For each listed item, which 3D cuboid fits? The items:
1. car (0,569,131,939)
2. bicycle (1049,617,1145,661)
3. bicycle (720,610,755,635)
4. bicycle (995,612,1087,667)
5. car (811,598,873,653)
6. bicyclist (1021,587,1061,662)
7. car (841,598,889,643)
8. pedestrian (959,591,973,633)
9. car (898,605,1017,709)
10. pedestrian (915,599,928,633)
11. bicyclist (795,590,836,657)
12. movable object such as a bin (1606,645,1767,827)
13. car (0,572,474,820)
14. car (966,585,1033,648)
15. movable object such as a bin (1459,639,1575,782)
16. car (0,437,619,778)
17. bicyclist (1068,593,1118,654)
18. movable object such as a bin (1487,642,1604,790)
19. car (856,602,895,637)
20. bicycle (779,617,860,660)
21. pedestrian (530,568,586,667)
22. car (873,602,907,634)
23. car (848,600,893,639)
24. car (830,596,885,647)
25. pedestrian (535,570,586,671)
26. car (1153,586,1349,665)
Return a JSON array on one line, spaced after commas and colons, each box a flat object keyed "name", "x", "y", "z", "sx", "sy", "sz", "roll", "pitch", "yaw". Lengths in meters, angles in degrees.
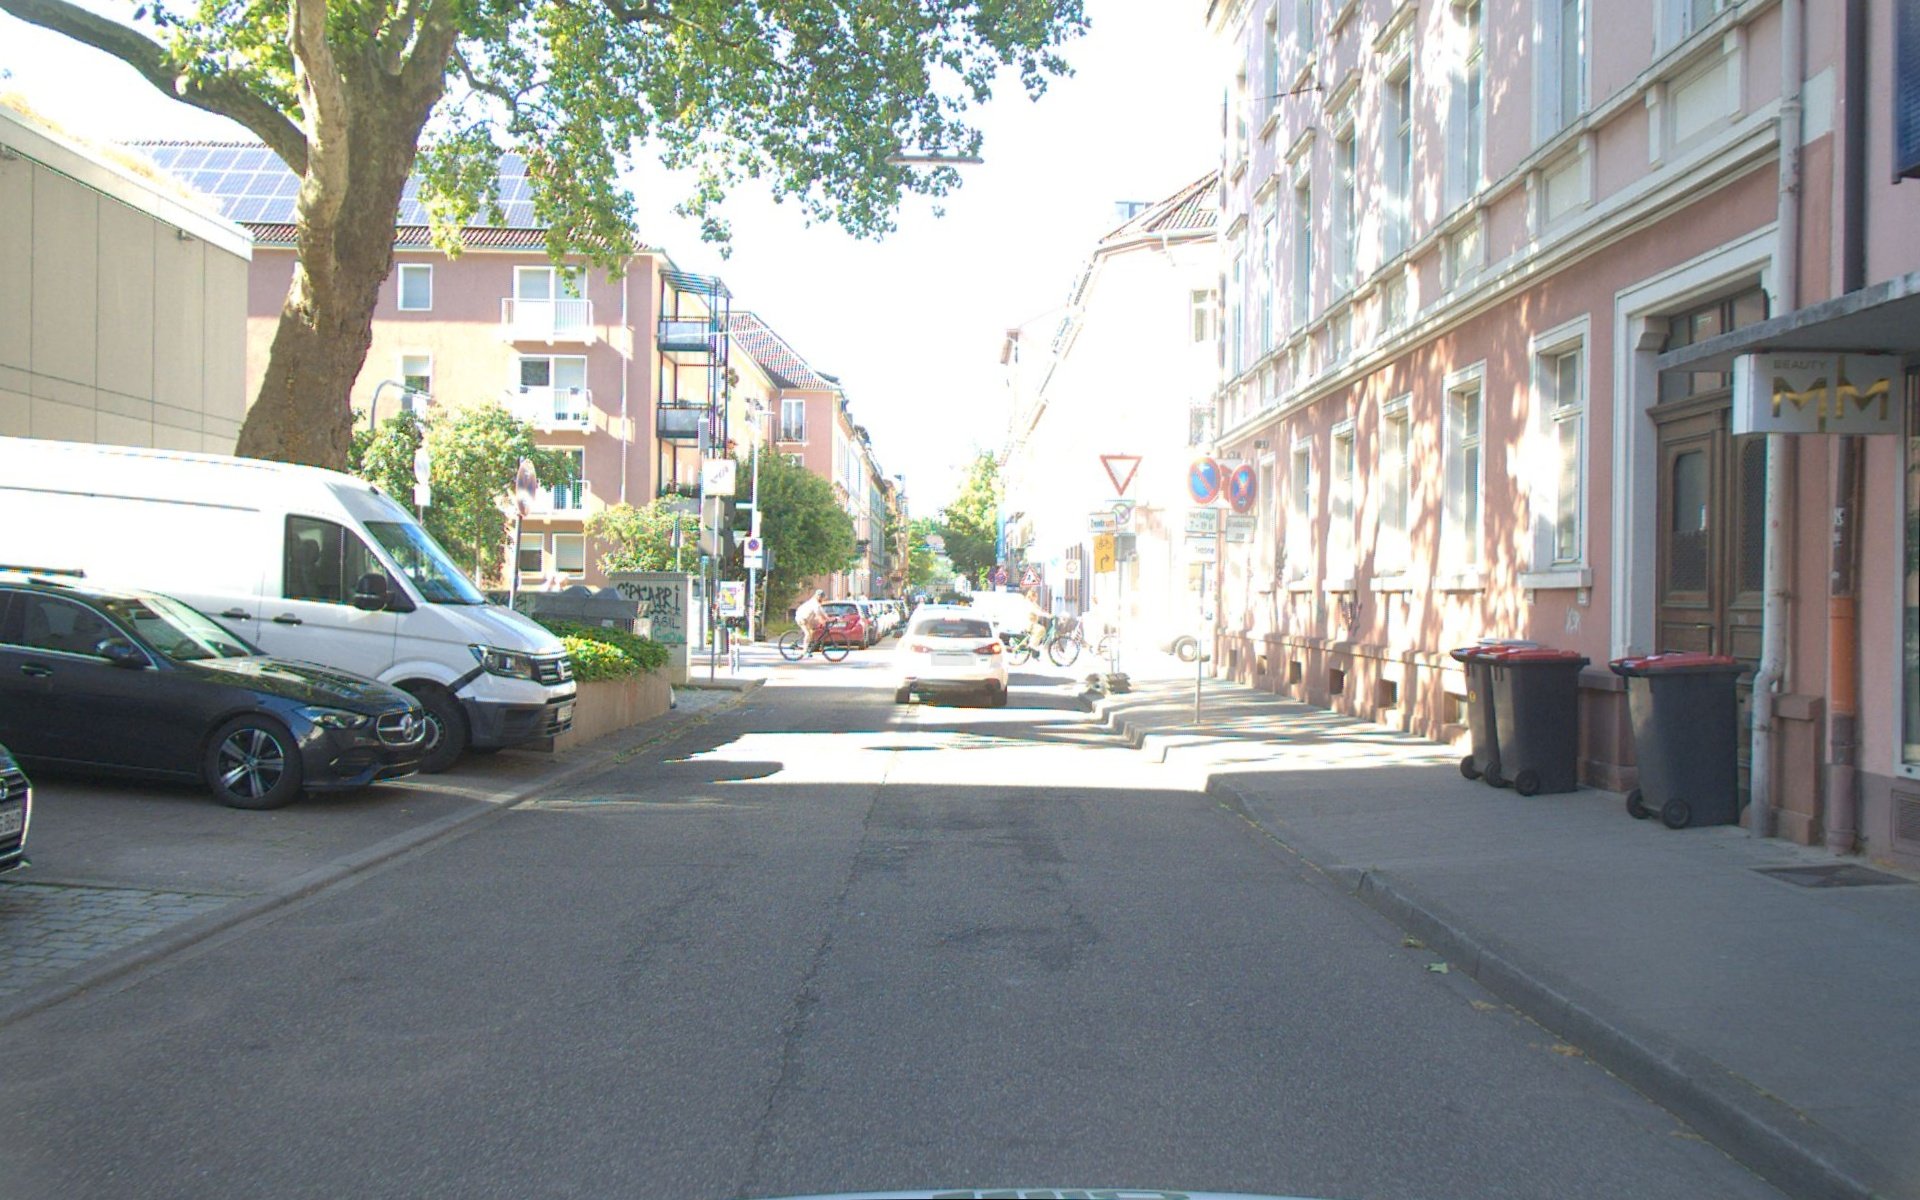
[{"name": "car", "x": -6.411, "y": 0.601, "z": 7.373, "sx": 4.376, "sy": 1.638, "sz": 1.915, "roll": 2, "pitch": -1, "yaw": -3}, {"name": "bicycle", "x": 3.515, "y": 0.987, "z": 42.305, "sx": 2.373, "sy": 1.099, "sz": 0.791, "roll": 0, "pitch": -1, "yaw": 12}, {"name": "bicycle", "x": -8.502, "y": 0.843, "z": 63.140, "sx": 0.598, "sy": 0.948, "sz": 1.893, "roll": 1, "pitch": -1, "yaw": -33}, {"name": "bicycle", "x": 1.899, "y": 0.924, "z": 38.696, "sx": 2.118, "sy": 1.277, "sz": 0.834, "roll": 0, "pitch": -1, "yaw": 2}, {"name": "car", "x": -3.674, "y": 0.772, "z": 51.908, "sx": 1.734, "sy": 1.616, "sz": 3.725, "roll": 0, "pitch": 1, "yaw": -1}, {"name": "bicyclist", "x": 1.890, "y": 0.574, "z": 38.746, "sx": 0.905, "sy": 1.750, "sz": 0.942, "roll": 0, "pitch": -1, "yaw": 2}, {"name": "car", "x": -3.581, "y": 0.785, "z": 63.022, "sx": 1.602, "sy": 1.685, "sz": 3.784, "roll": 0, "pitch": -1, "yaw": 0}, {"name": "pedestrian", "x": 0.308, "y": 0.620, "z": 85.161, "sx": 0.755, "sy": 2.155, "sz": 0.834, "roll": 0, "pitch": -1, "yaw": 0}, {"name": "car", "x": -0.071, "y": 0.881, "z": 27.065, "sx": 1.787, "sy": 1.540, "sz": 3.822, "roll": 1, "pitch": 0, "yaw": -1}, {"name": "pedestrian", "x": -2.055, "y": 0.840, "z": 88.458, "sx": 0.634, "sy": 1.828, "sz": 0.639, "roll": 0, "pitch": -1, "yaw": 0}, {"name": "bicyclist", "x": -3.421, "y": 0.559, "z": 39.204, "sx": 0.963, "sy": 1.580, "sz": 0.760, "roll": 0, "pitch": -1, "yaw": -4}, {"name": "movable object such as a bin", "x": 4.675, "y": 0.857, "z": 10.683, "sx": 0.715, "sy": 1.123, "sz": 0.692, "roll": 0, "pitch": -1, "yaw": -3}, {"name": "car", "x": -6.160, "y": 0.623, "z": 12.324, "sx": 4.408, "sy": 1.496, "sz": 1.929, "roll": 4, "pitch": 0, "yaw": 1}, {"name": "car", "x": 1.272, "y": 0.553, "z": 55.182, "sx": 1.904, "sy": 1.982, "sz": 4.076, "roll": 1, "pitch": 0, "yaw": -3}, {"name": "movable object such as a bin", "x": 4.453, "y": 0.870, "z": 13.258, "sx": 0.730, "sy": 1.105, "sz": 0.635, "roll": 0, "pitch": -1, "yaw": 1}, {"name": "car", "x": -6.724, "y": 0.018, "z": 15.123, "sx": 6.601, "sy": 2.599, "sz": 2.146, "roll": 3, "pitch": -1, "yaw": 1}, {"name": "bicyclist", "x": 3.414, "y": 0.607, "z": 42.302, "sx": 1.170, "sy": 1.543, "sz": 0.841, "roll": 0, "pitch": -1, "yaw": 13}, {"name": "movable object such as a bin", "x": 4.457, "y": 0.869, "z": 12.626, "sx": 0.687, "sy": 1.092, "sz": 0.596, "roll": 0, "pitch": -1, "yaw": 1}, {"name": "car", "x": -3.749, "y": 0.880, "z": 73.817, "sx": 1.569, "sy": 1.503, "sz": 3.567, "roll": 0, "pitch": -1, "yaw": 0}, {"name": "bicycle", "x": -3.325, "y": 0.901, "z": 39.205, "sx": 1.889, "sy": 1.003, "sz": 0.662, "roll": 0, "pitch": -1, "yaw": -4}, {"name": "pedestrian", "x": -7.840, "y": 0.346, "z": 32.267, "sx": 0.950, "sy": 1.871, "sz": 0.679, "roll": 3, "pitch": -1, "yaw": -15}, {"name": "car", "x": -3.540, "y": 0.928, "z": 84.128, "sx": 1.540, "sy": 1.613, "sz": 3.610, "roll": 0, "pitch": -1, "yaw": 0}, {"name": "car", "x": -3.753, "y": 0.829, "z": 69.805, "sx": 1.685, "sy": 1.604, "sz": 3.725, "roll": 0, "pitch": -1, "yaw": 0}, {"name": "car", "x": -3.533, "y": 0.750, "z": 57.508, "sx": 1.685, "sy": 1.712, "sz": 3.726, "roll": 0, "pitch": 0, "yaw": 0}, {"name": "pedestrian", "x": -7.569, "y": 0.384, "z": 31.325, "sx": 0.839, "sy": 1.847, "sz": 0.812, "roll": 3, "pitch": -1, "yaw": -14}, {"name": "car", "x": 7.726, "y": 0.670, "z": 43.932, "sx": 4.792, "sy": 1.962, "sz": 1.999, "roll": 1, "pitch": -2, "yaw": 24}]
